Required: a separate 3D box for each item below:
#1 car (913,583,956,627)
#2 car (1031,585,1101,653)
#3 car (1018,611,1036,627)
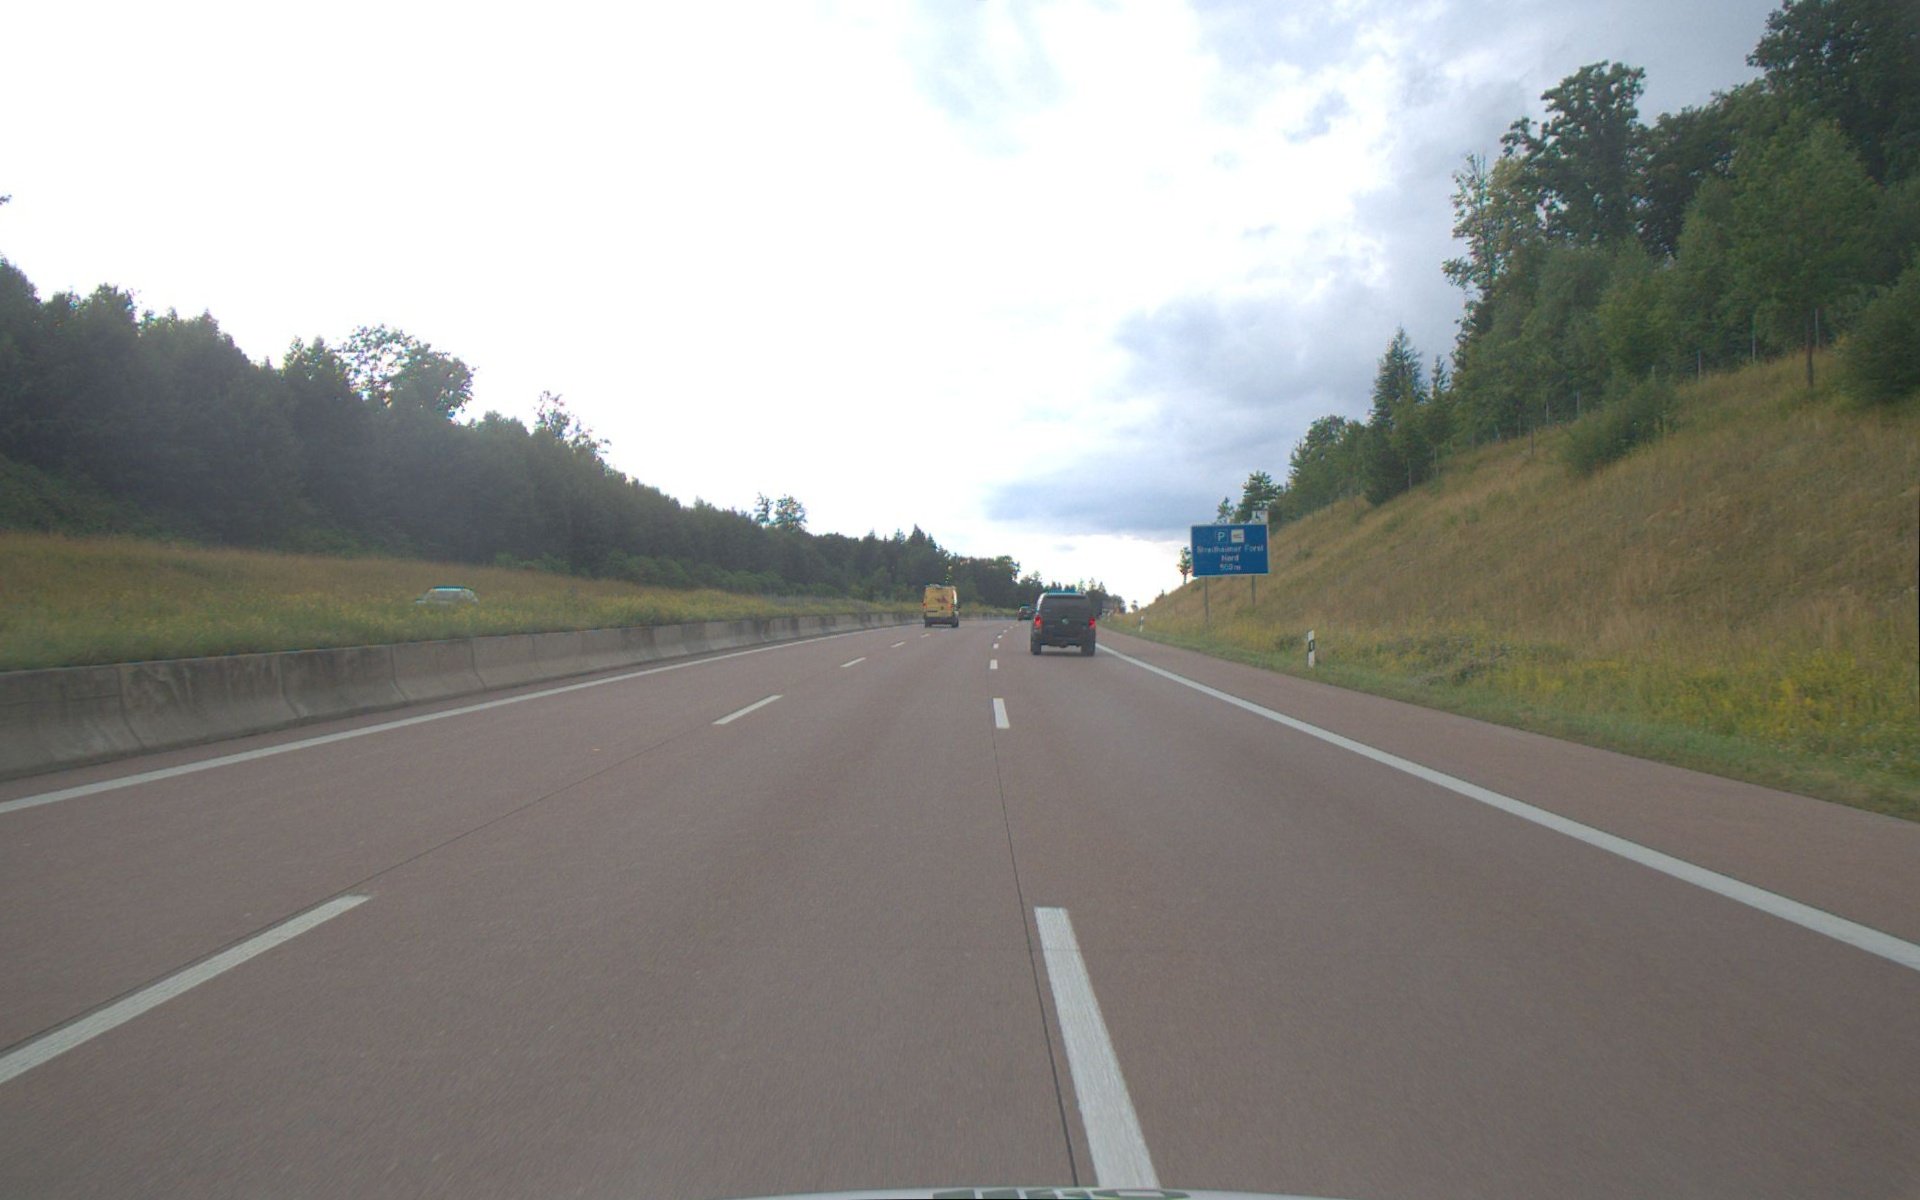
[{"bbox_3d":[-1.635,0.344,108.469,2.407,2.754,5.615,0,-1,3],"label":"car"},{"bbox_3d":[3.222,0.602,50.334,2.001,1.930,5.579,0,-1,3],"label":"car"},{"bbox_3d":[7.910,2.258,194.881,1.847,1.795,5.000,0,-1,5],"label":"car"}]
